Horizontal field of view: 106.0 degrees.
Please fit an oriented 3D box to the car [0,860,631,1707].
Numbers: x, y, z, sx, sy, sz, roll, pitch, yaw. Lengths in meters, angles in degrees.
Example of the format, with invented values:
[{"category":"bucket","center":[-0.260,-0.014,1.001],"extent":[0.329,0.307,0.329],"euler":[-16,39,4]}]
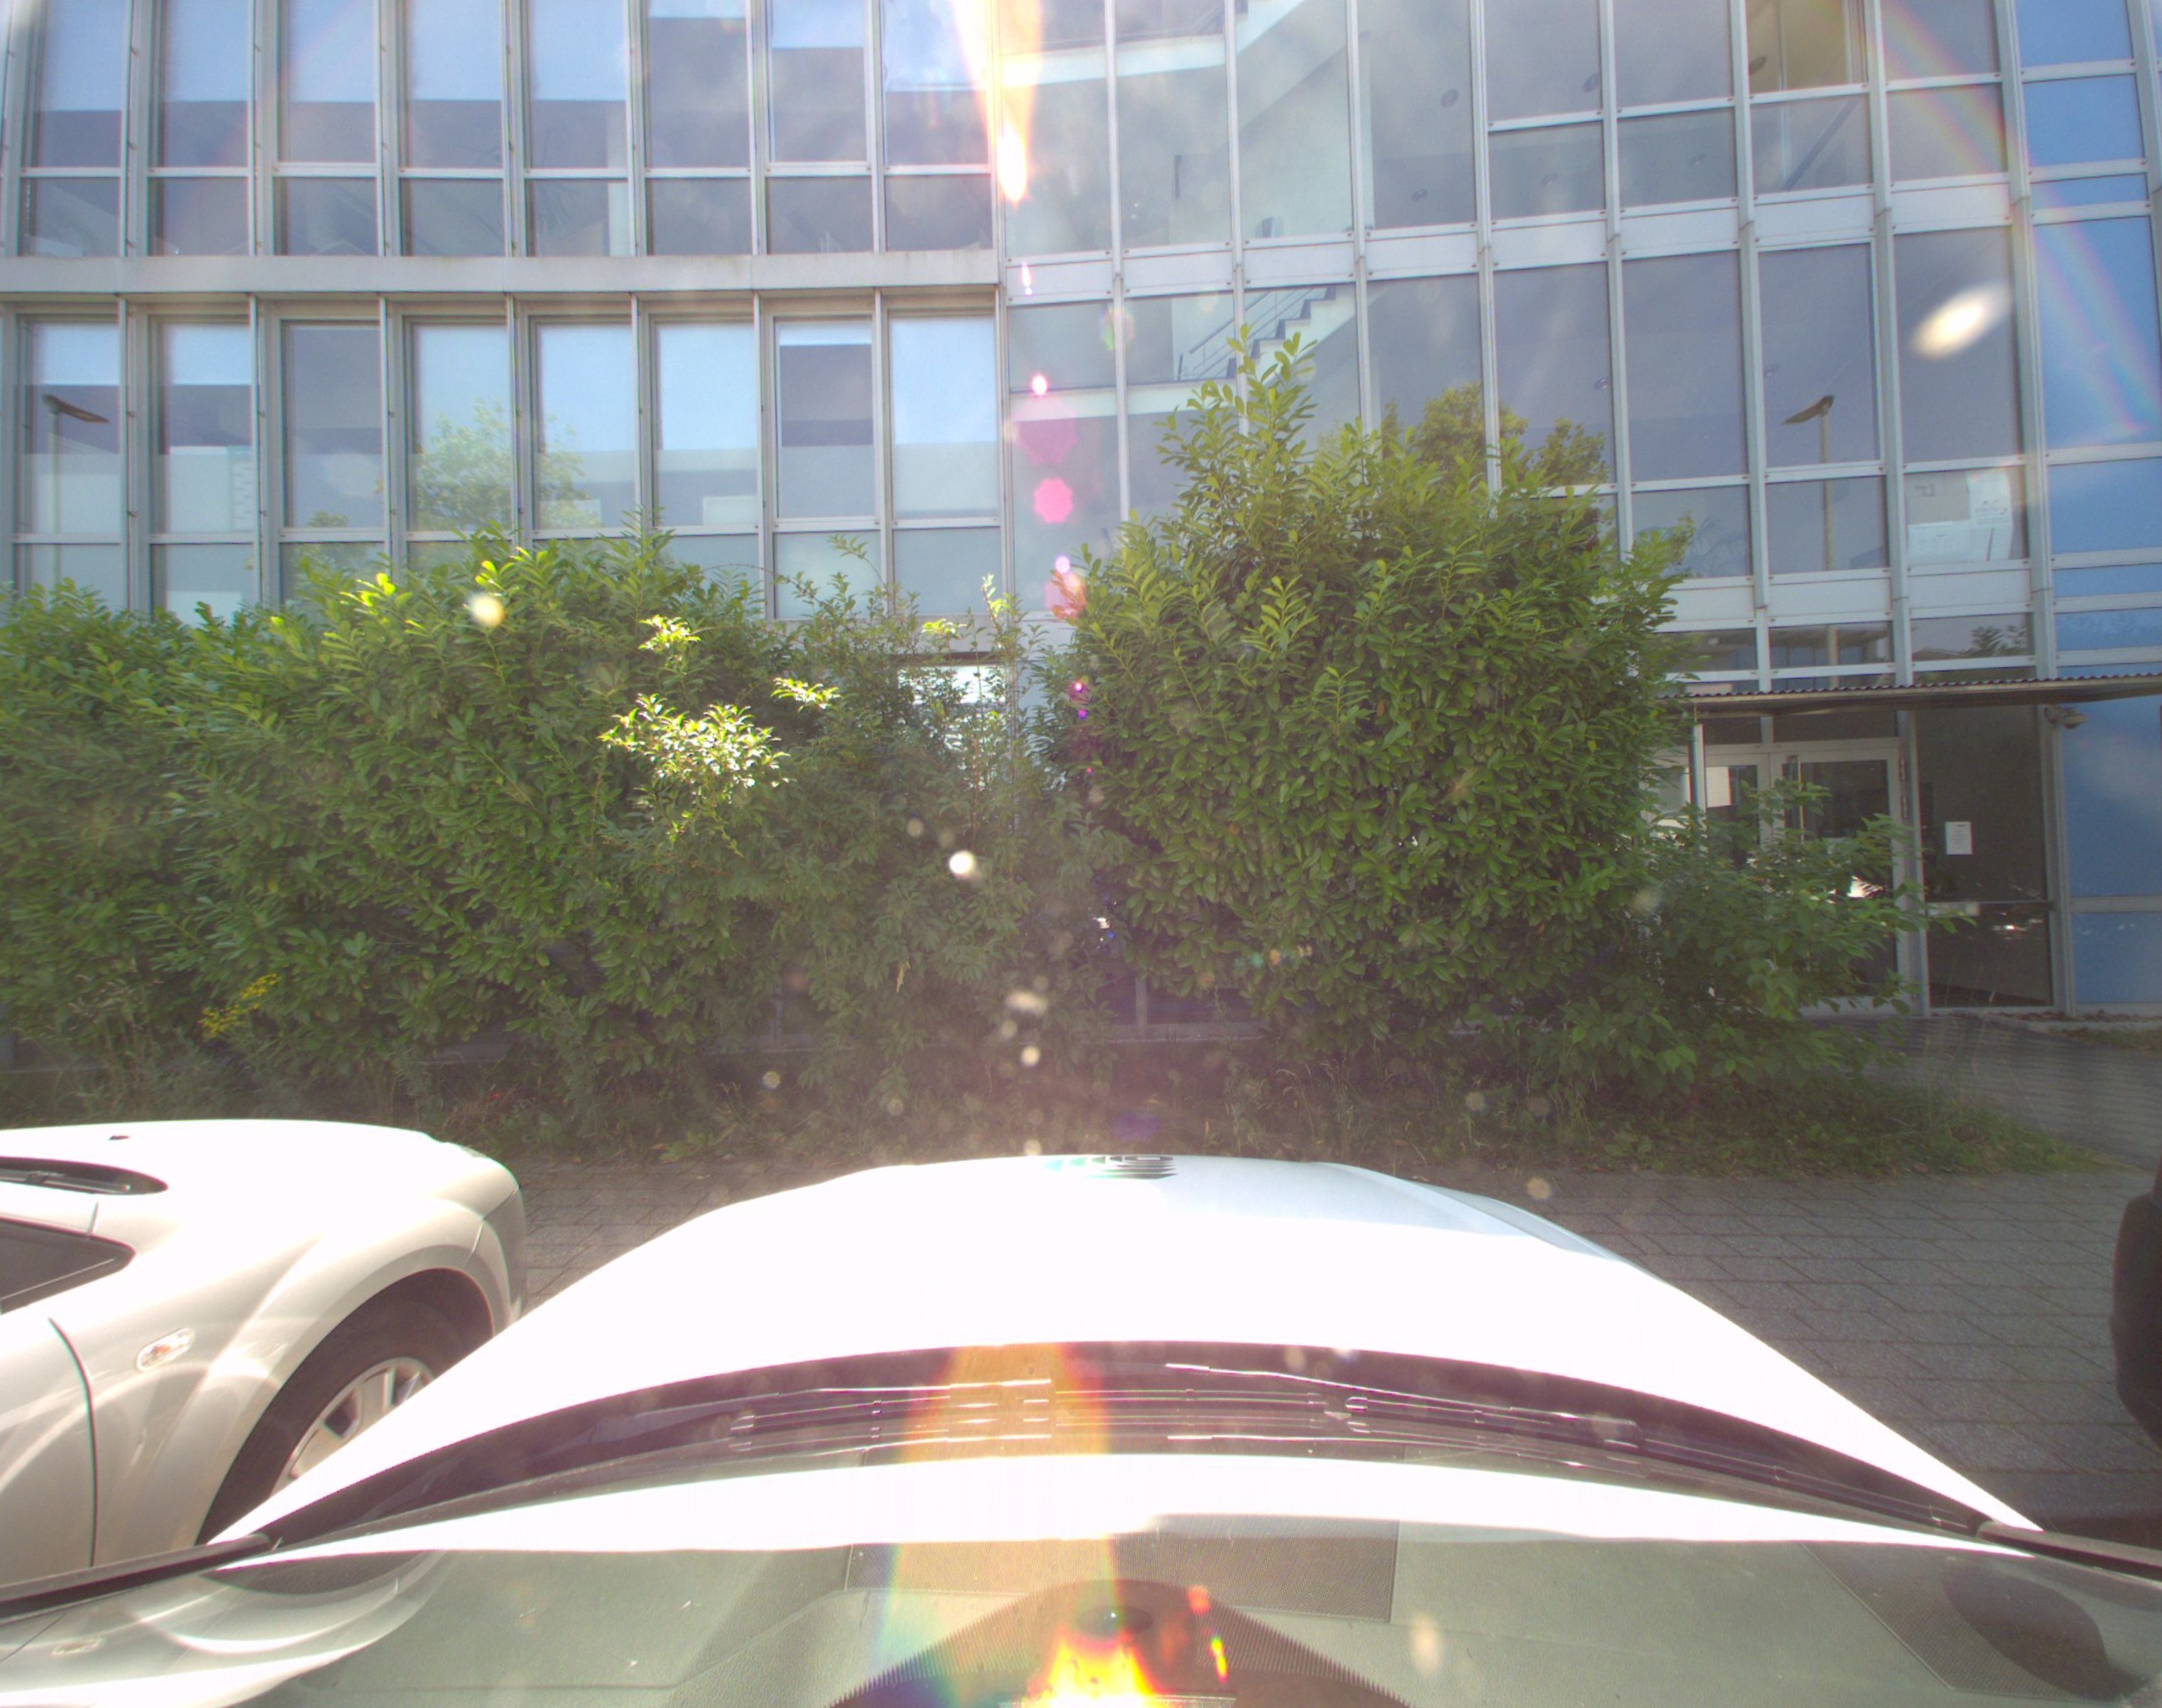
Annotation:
[{"category":"car","center":[-2.200,0.762,0.171],"extent":[1.713,1.479,4.349],"euler":[-1,0,1]}]
